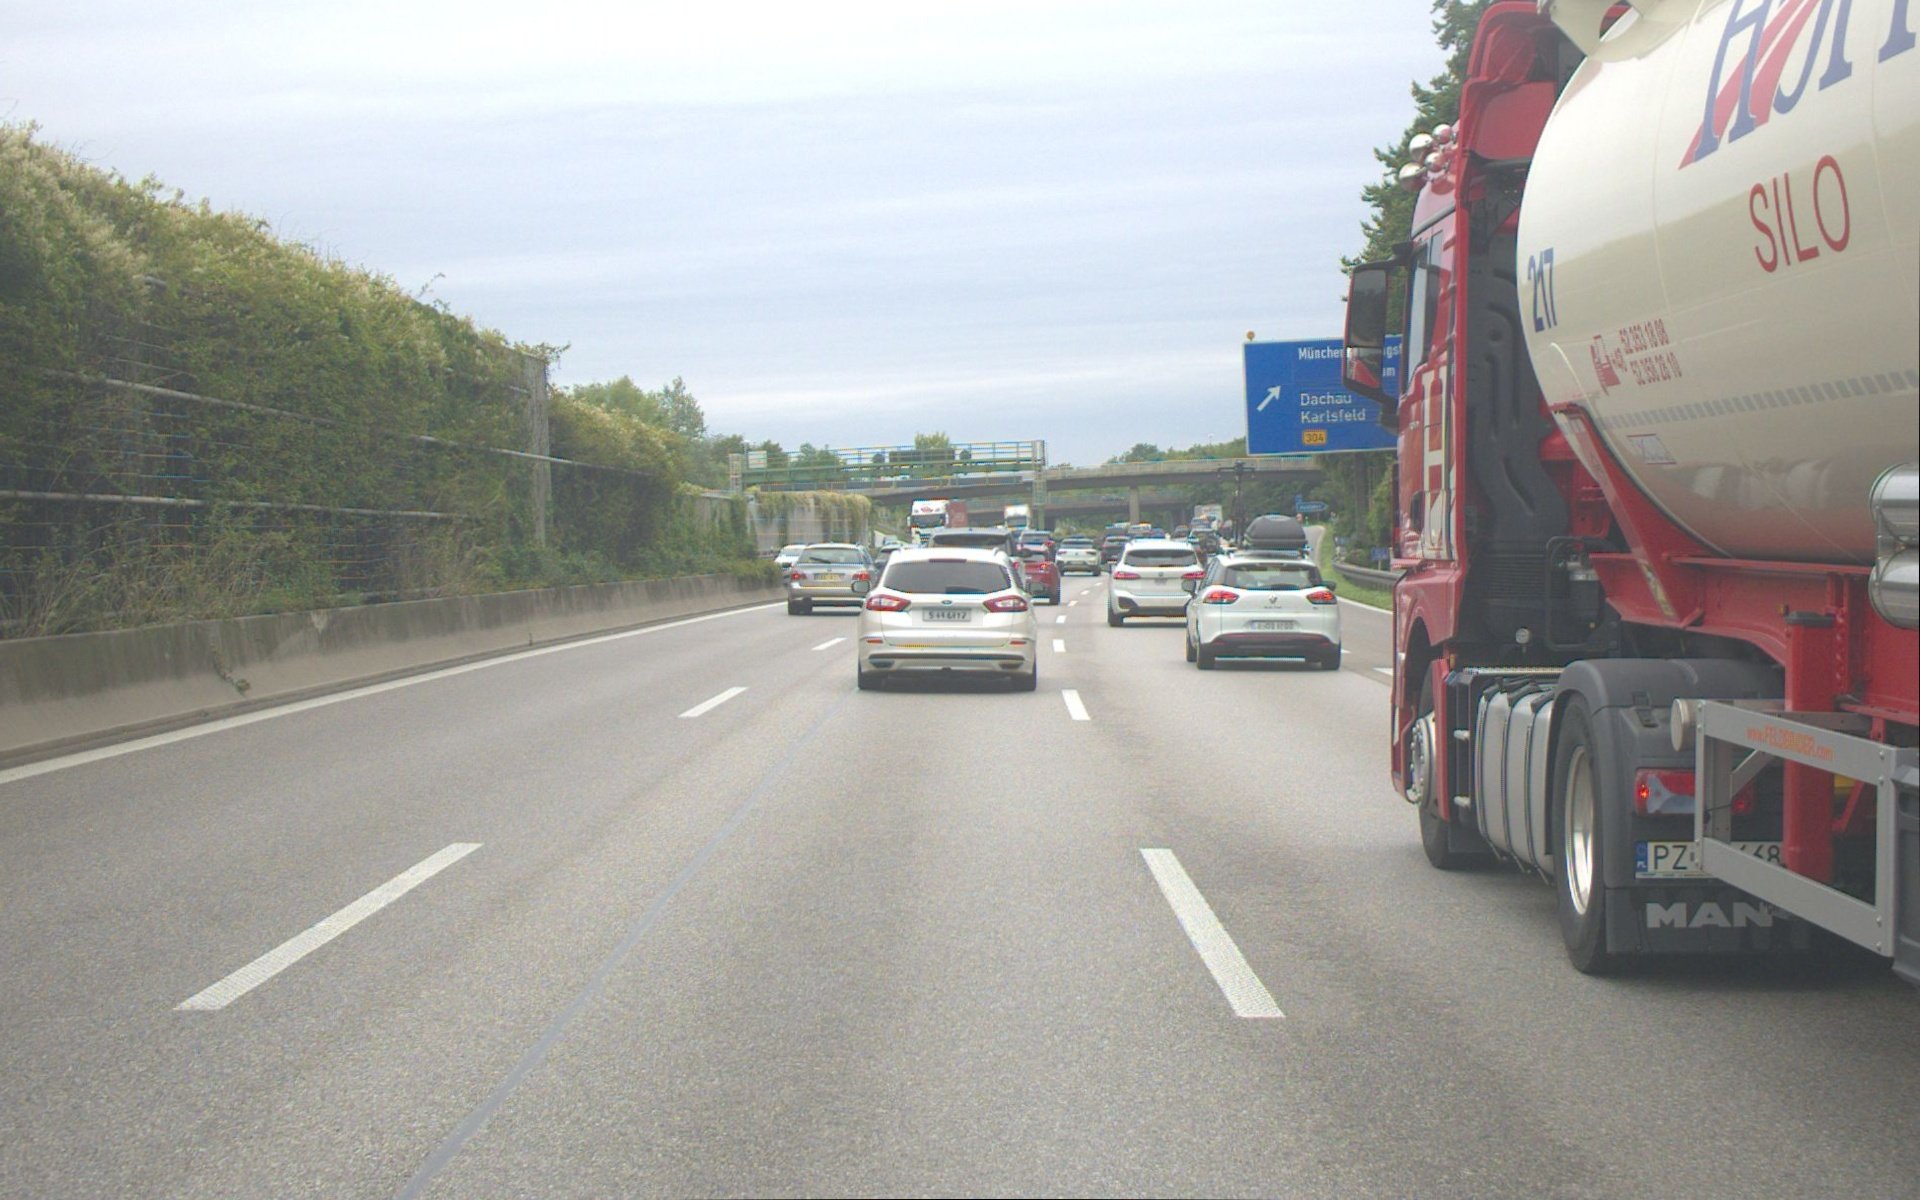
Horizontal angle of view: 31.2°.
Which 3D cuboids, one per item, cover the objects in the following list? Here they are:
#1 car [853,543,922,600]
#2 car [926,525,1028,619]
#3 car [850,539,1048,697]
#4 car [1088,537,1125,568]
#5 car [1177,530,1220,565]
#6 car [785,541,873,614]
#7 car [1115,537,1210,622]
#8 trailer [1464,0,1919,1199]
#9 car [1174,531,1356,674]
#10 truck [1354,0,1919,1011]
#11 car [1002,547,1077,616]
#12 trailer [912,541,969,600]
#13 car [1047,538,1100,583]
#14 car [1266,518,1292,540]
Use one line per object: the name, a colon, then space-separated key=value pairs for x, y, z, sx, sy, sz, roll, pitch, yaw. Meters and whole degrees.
car: x=-1.959 y=-0.799 z=94.441 sx=1.720 sy=1.507 sz=5.030 roll=-1 pitch=1 yaw=1
car: x=0.281 y=-0.534 z=62.108 sx=1.689 sy=1.501 sz=3.872 roll=3 pitch=2 yaw=-1
car: x=-0.187 y=0.140 z=36.457 sx=1.891 sy=1.499 sz=5.030 roll=2 pitch=1 yaw=-2
car: x=7.458 y=-2.409 z=174.918 sx=1.689 sy=1.534 sz=3.872 roll=-1 pitch=1 yaw=-1
car: x=10.632 y=-2.347 z=153.163 sx=1.689 sy=1.534 sz=3.870 roll=0 pitch=1 yaw=7
car: x=-2.709 y=-0.447 z=71.869 sx=1.720 sy=1.464 sz=5.030 roll=0 pitch=0 yaw=-1
car: x=3.711 y=-0.383 z=63.011 sx=1.689 sy=1.501 sz=3.871 roll=0 pitch=0 yaw=3
trailer: x=3.455 y=-0.584 z=7.709 sx=2.668 sy=3.925 sz=13.131 roll=0 pitch=1 yaw=0
car: x=3.728 y=-0.005 z=42.775 sx=1.816 sy=1.620 sz=5.030 roll=2 pitch=1 yaw=1
truck: x=3.407 y=-0.654 z=14.681 sx=2.695 sy=3.899 sz=6.557 roll=0 pitch=1 yaw=0
car: x=1.960 y=-0.469 z=83.963 sx=1.689 sy=1.501 sz=3.871 roll=4 pitch=2 yaw=2
trailer: x=-1.389 y=-2.218 z=253.776 sx=2.669 sy=4.113 sz=13.128 roll=-1 pitch=1 yaw=6
car: x=4.705 y=-1.631 z=141.623 sx=1.790 sy=1.773 sz=3.870 roll=-1 pitch=1 yaw=7
car: x=20.720 y=-4.627 z=223.309 sx=1.689 sy=1.417 sz=3.871 roll=0 pitch=1 yaw=6
